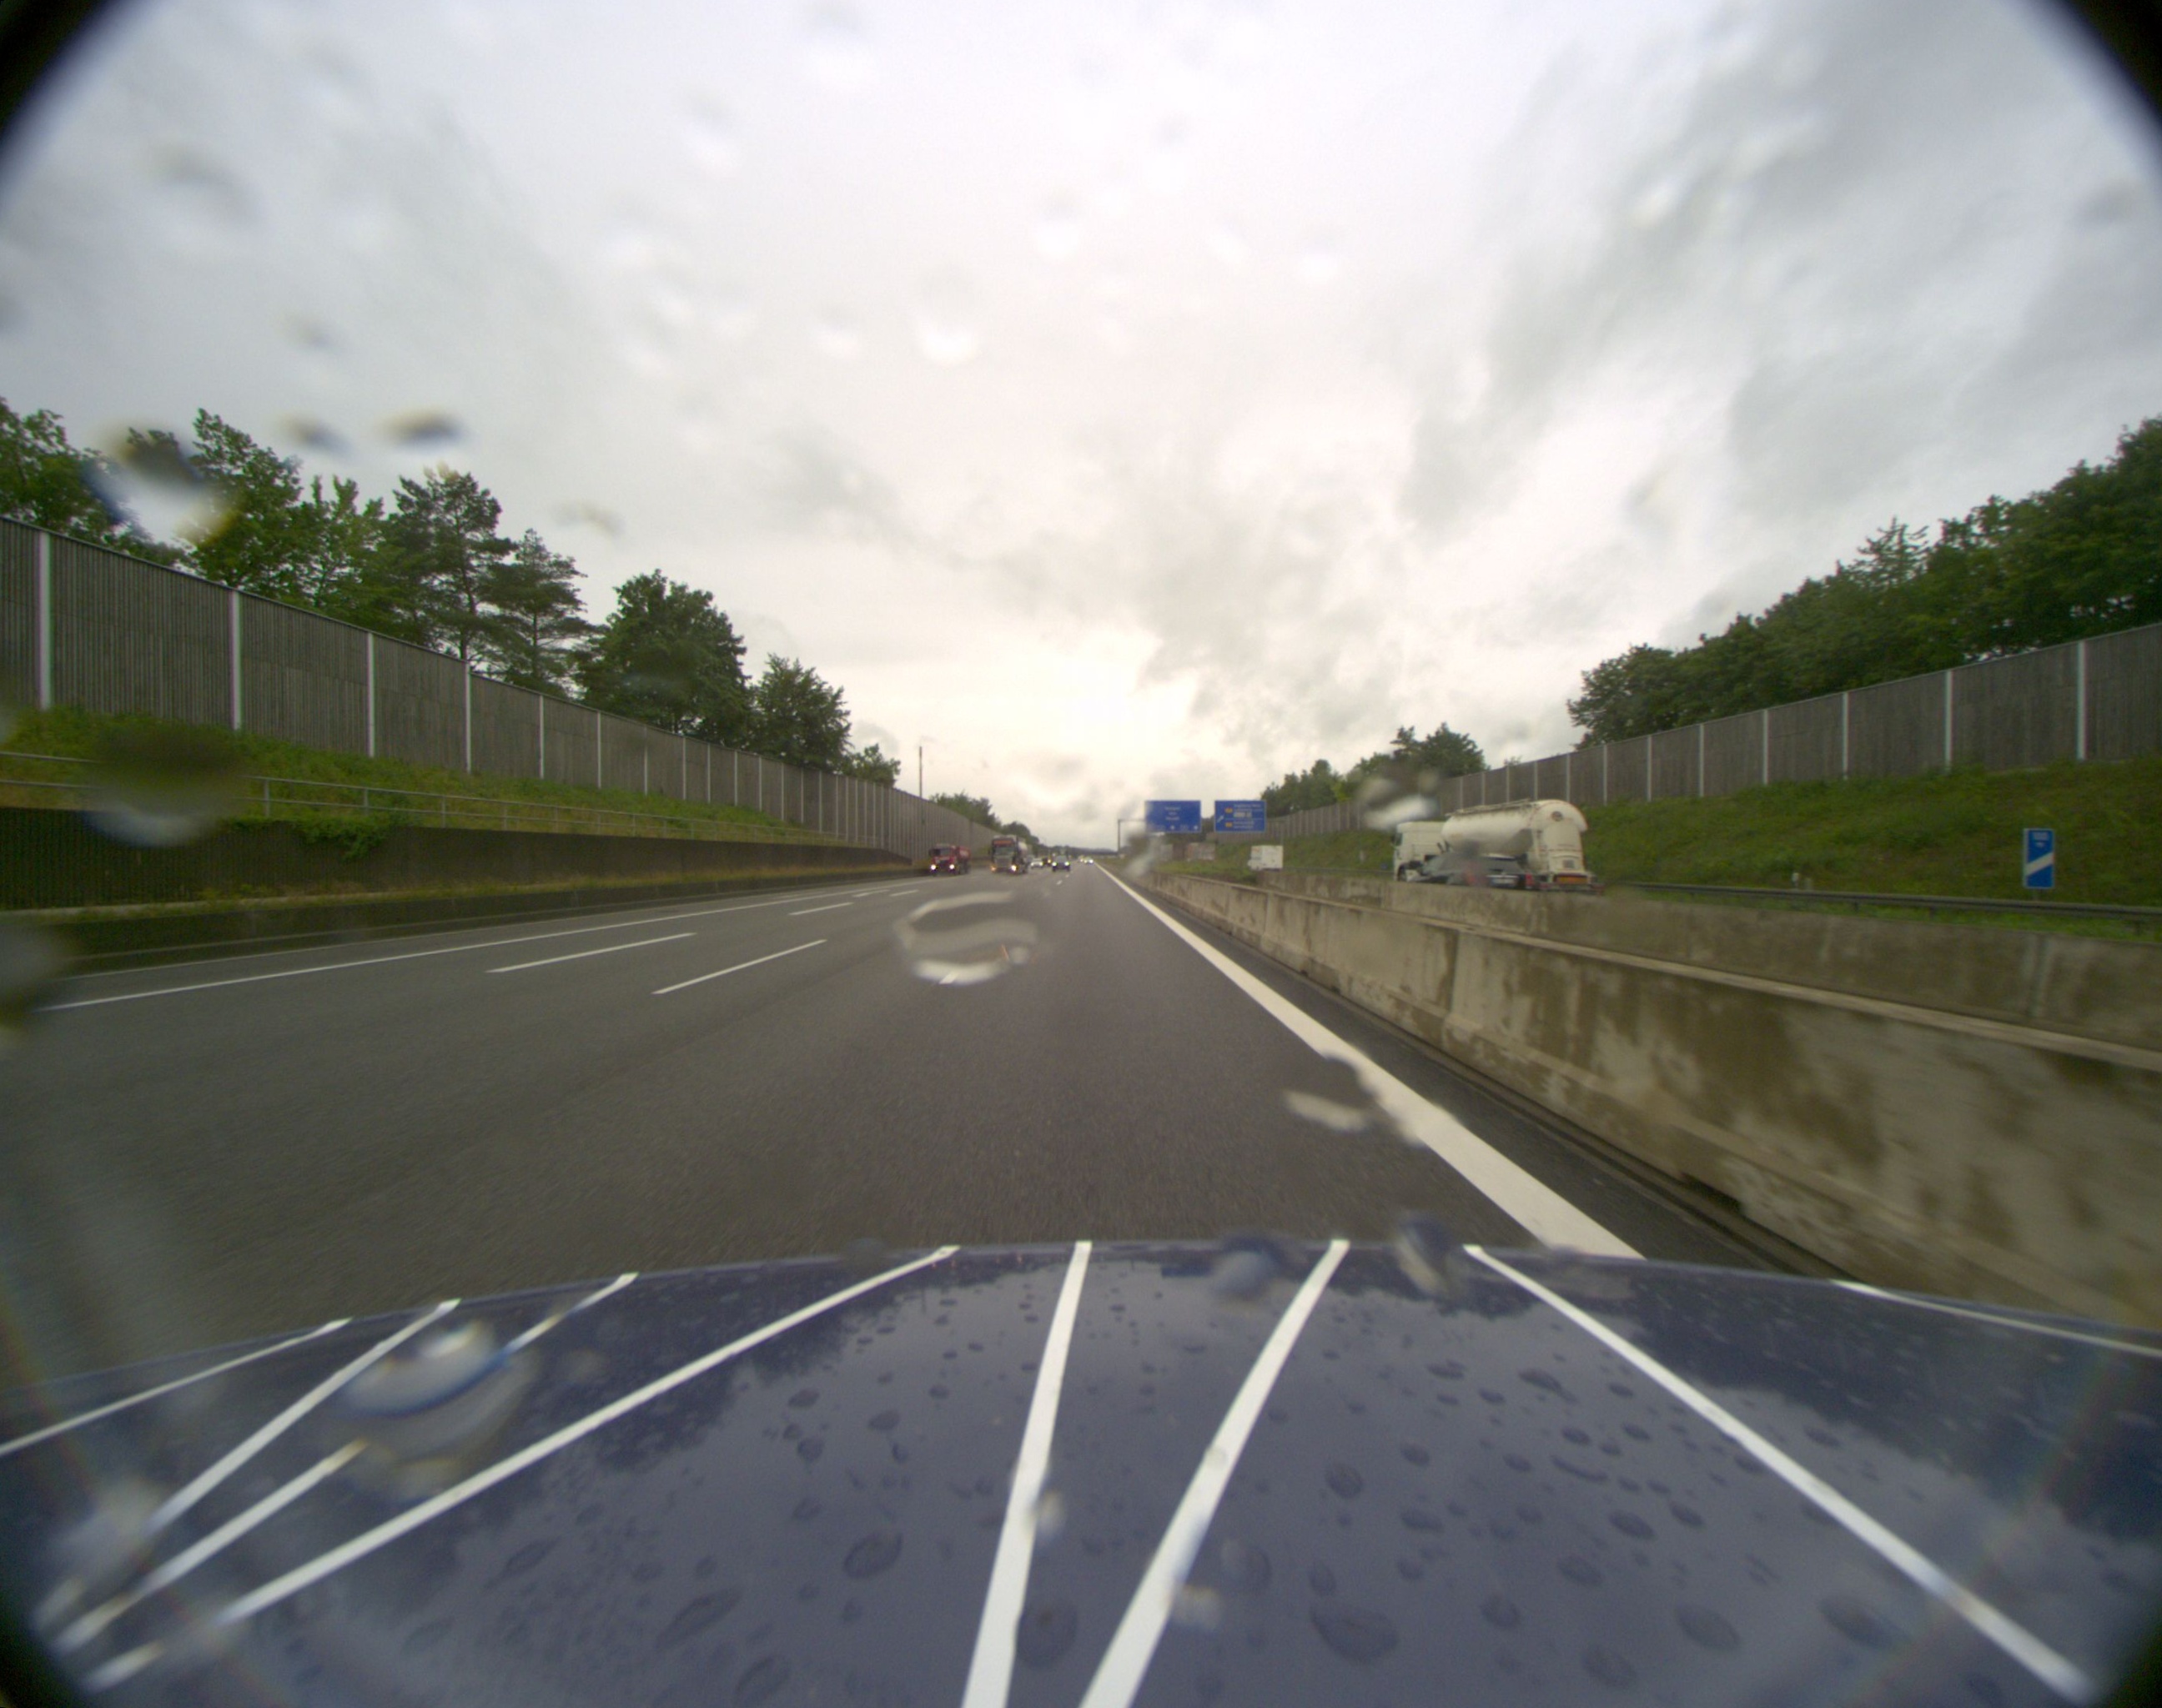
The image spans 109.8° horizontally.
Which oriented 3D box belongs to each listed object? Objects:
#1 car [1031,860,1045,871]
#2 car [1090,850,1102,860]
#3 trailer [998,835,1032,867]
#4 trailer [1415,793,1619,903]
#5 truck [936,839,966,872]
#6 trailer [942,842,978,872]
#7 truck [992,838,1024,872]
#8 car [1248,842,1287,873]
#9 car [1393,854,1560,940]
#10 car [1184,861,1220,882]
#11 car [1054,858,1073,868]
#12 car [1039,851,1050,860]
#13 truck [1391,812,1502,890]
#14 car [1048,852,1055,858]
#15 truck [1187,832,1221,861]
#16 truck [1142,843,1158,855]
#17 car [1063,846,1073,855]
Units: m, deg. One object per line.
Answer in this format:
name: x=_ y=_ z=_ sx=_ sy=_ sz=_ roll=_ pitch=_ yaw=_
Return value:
car: x=-6.714 y=1.759 z=120.213 sx=1.916 sy=1.630 sz=3.999 roll=-2 pitch=1 yaw=0
car: x=3.601 y=0.317 z=179.947 sx=2.680 sy=2.340 sz=5.807 roll=0 pitch=0 yaw=-1
trailer: x=-6.984 y=-0.343 z=81.576 sx=2.600 sy=3.228 sz=9.915 roll=0 pitch=0 yaw=1
trailer: x=18.234 y=-0.280 z=33.034 sx=2.718 sy=3.901 sz=10.644 roll=2 pitch=1 yaw=1
truck: x=-13.863 y=0.193 z=81.147 sx=2.420 sy=3.445 sz=4.000 roll=0 pitch=0 yaw=1
trailer: x=-13.737 y=0.326 z=86.986 sx=2.452 sy=3.228 sz=9.401 roll=0 pitch=0 yaw=1
truck: x=-7.119 y=0.101 z=74.703 sx=2.617 sy=3.218 sz=4.632 roll=0 pitch=0 yaw=1
car: x=19.049 y=0.345 z=77.832 sx=2.369 sy=2.953 sz=6.688 roll=0 pitch=0 yaw=0
car: x=10.255 y=1.012 z=20.200 sx=1.998 sy=2.002 sz=4.768 roll=0 pitch=0 yaw=1
car: x=10.412 y=1.484 z=65.970 sx=2.369 sy=1.647 sz=5.094 roll=-2 pitch=1 yaw=1
car: x=-2.053 y=1.017 z=89.568 sx=2.061 sy=1.020 sz=3.438 roll=-2 pitch=1 yaw=1
car: x=-7.035 y=0.306 z=146.786 sx=1.998 sy=1.747 sz=4.000 roll=-1 pitch=0 yaw=1
truck: x=18.287 y=-0.162 z=38.479 sx=2.707 sy=3.537 sz=5.857 roll=2 pitch=1 yaw=1
car: x=-6.113 y=0.270 z=157.582 sx=1.275 sy=1.116 sz=2.844 roll=-2 pitch=1 yaw=1
truck: x=18.910 y=-1.062 z=117.679 sx=3.326 sy=4.216 sz=11.146 roll=-2 pitch=0 yaw=0
truck: x=15.865 y=-1.093 z=175.608 sx=2.982 sy=2.756 sz=7.263 roll=0 pitch=0 yaw=0
car: x=-3.692 y=-0.987 z=212.483 sx=2.769 sy=2.591 sz=5.807 roll=0 pitch=0 yaw=-1
